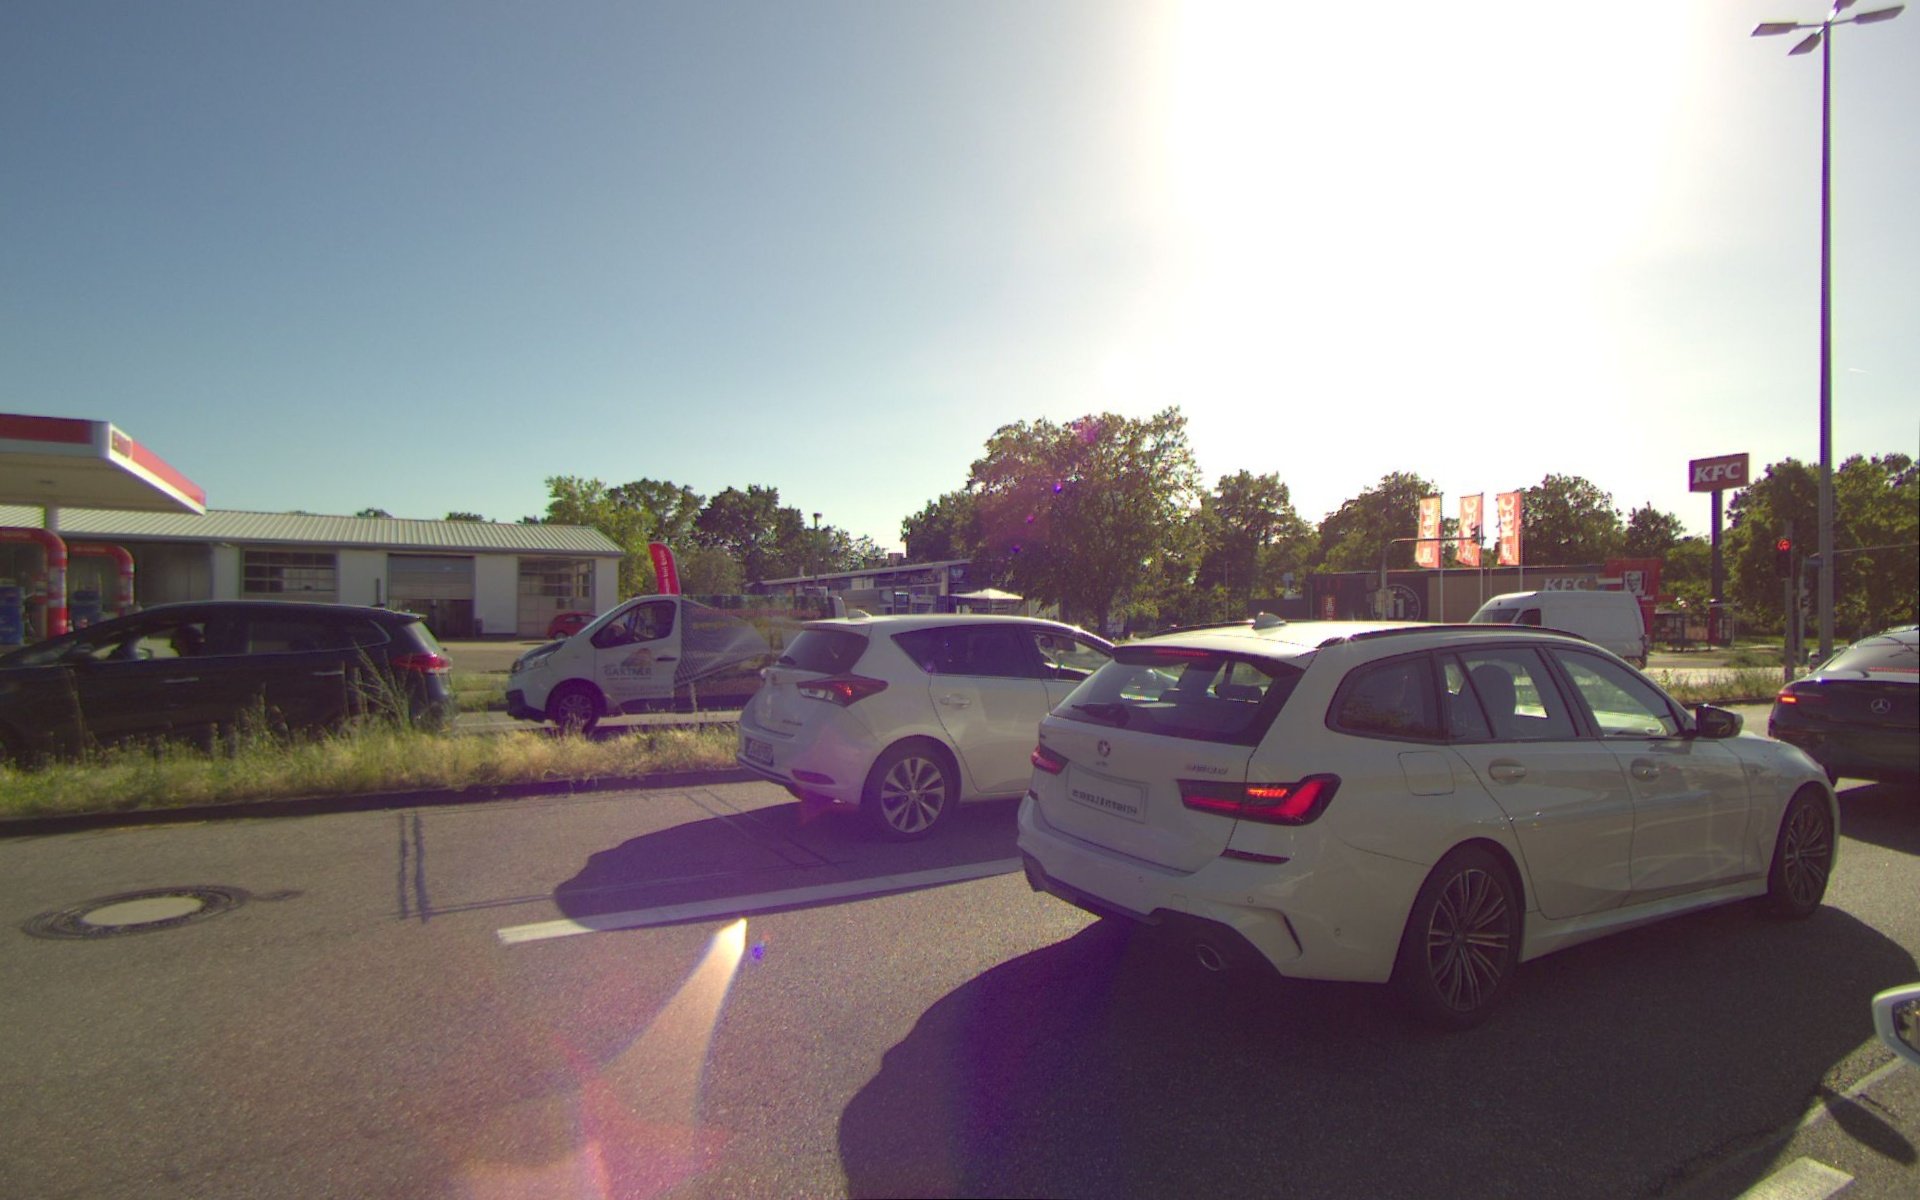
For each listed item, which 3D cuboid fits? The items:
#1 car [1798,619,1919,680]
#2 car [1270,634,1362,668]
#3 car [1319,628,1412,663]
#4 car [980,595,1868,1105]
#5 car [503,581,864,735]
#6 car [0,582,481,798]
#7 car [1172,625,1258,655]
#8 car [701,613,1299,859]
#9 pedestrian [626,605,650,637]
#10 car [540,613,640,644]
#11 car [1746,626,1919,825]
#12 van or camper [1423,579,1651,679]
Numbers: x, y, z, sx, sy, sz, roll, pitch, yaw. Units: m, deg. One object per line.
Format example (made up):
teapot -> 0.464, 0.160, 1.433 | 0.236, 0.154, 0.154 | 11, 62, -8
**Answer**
car -> 27.429, 1.426, 29.094 | 4.532, 1.675, 1.996 | 0, -1, 30
car -> 17.023, 2.407, 48.172 | 1.801, 1.448, 4.022 | 1, -1, -27
car -> 20.069, 2.227, 49.863 | 1.804, 1.616, 4.016 | 1, -1, -32
car -> 2.428, 0.796, 4.910 | 4.409, 1.529, 1.760 | 1, -1, -30
car -> -4.107, 0.854, 15.200 | 4.952, 2.040, 1.991 | 1, -3, -21
car -> -6.999, 0.739, 9.408 | 4.385, 1.712, 1.870 | 1, -1, -31
car -> 13.790, 2.128, 54.530 | 1.840, 1.449, 4.700 | 0, 0, -28
car -> 0.393, 0.849, 7.822 | 4.350, 1.448, 1.849 | 1, -1, -29
pedestrian -> -18.491, 1.209, 57.663 | 1.086, 1.787, 1.150 | 1, -1, -29
car -> -18.194, 1.415, 49.470 | 4.486, 1.458, 1.741 | 1, -1, -26
car -> 8.806, 0.963, 8.631 | 4.409, 1.433, 1.760 | 1, -1, -30
van or camper -> 16.457, 0.826, 28.725 | 5.853, 2.686, 1.995 | 1, -1, -13
